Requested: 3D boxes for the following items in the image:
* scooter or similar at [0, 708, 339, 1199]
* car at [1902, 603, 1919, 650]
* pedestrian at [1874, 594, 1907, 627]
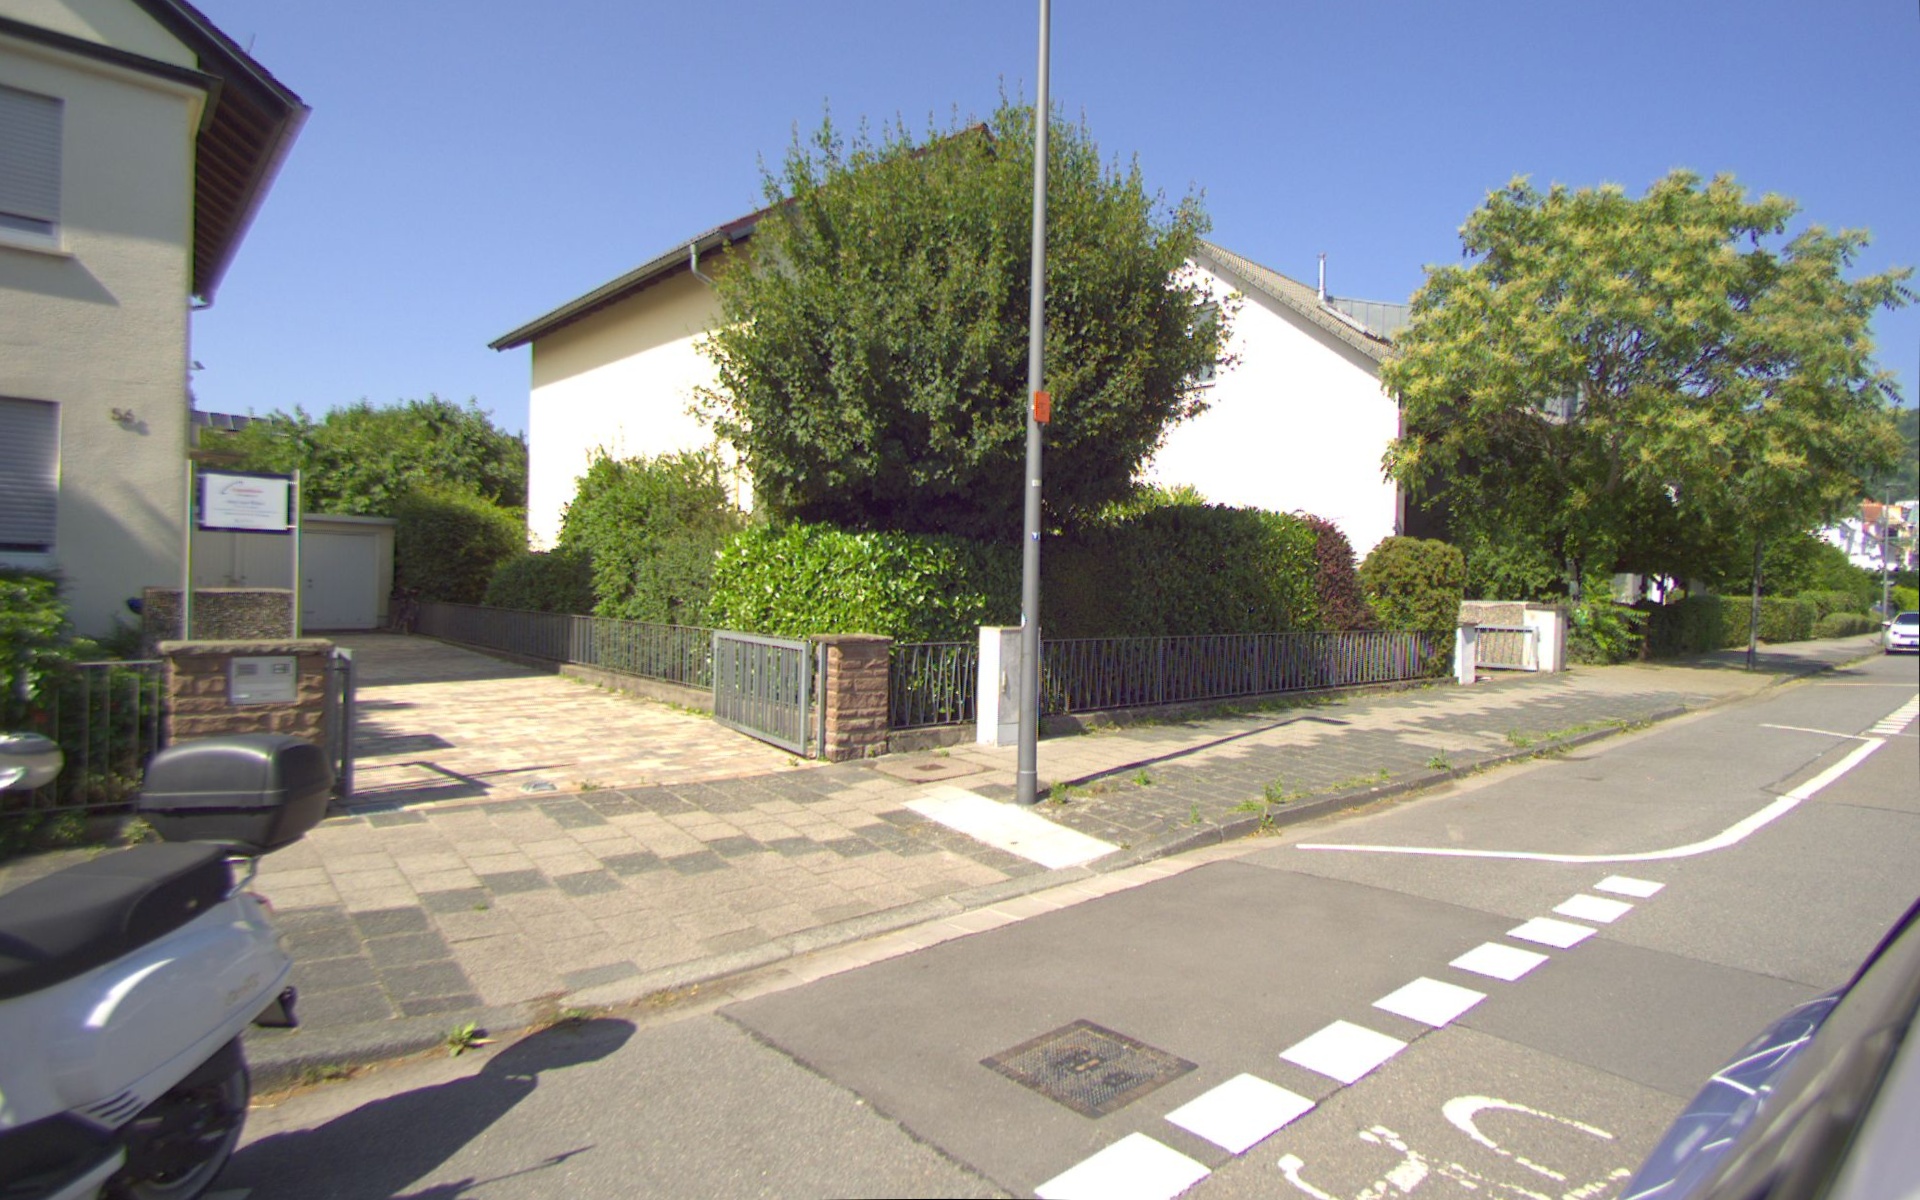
[{"bbox_3d":[-2.052,0.858,1.832,0.707,1.169,1.795,-1,-2,2],"label":"scooter or similar"},{"bbox_3d":[30.665,0.791,31.506,4.006,1.420,1.741,0,-1,-44],"label":"car"},{"bbox_3d":[54.764,0.608,59.574,0.889,1.896,1.183,1,1,15],"label":"pedestrian"}]
